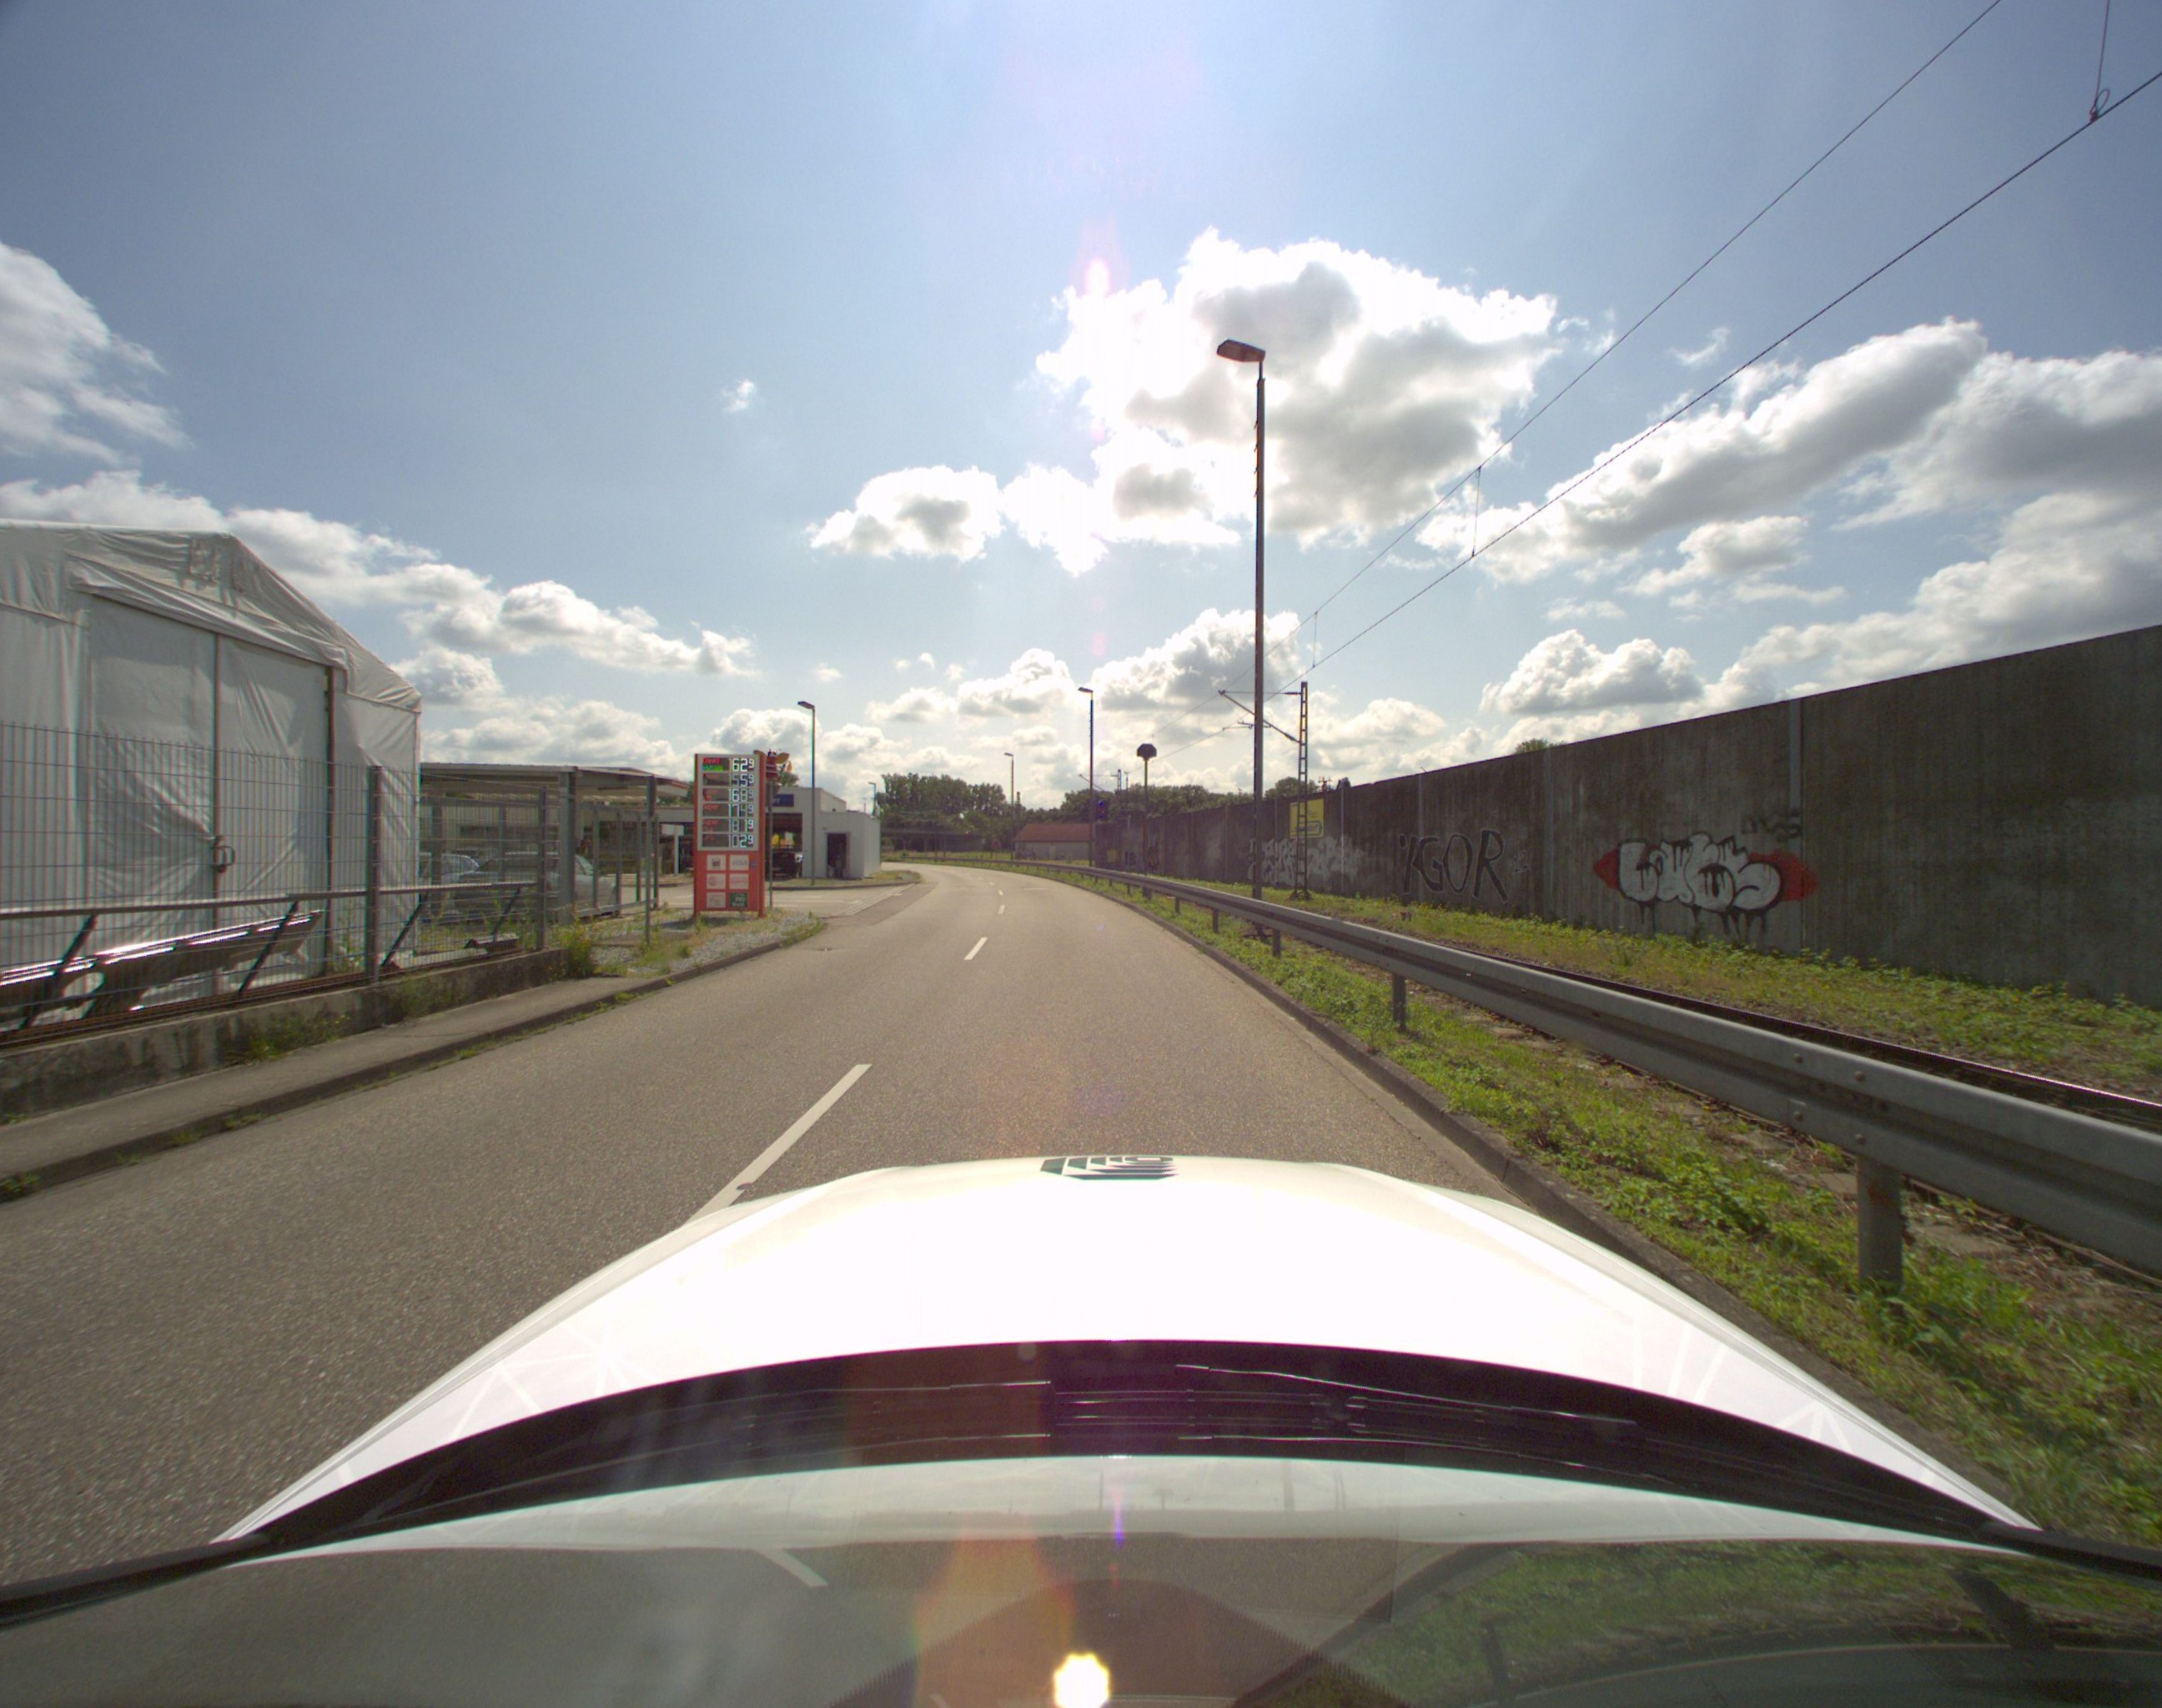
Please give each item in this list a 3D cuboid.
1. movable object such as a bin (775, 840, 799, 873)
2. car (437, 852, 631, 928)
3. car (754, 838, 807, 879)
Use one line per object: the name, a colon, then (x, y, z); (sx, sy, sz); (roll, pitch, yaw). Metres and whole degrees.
movable object such as a bin: (-19.603, 0.211, 54.291); (1.063, 2.153, 2.694); (0, -2, -11)
car: (-11.290, 0.677, 17.271); (1.920, 1.377, 4.767); (1, -1, -15)
car: (-16.322, 0.239, 44.521); (1.995, 2.109, 4.990); (0, 0, -12)
